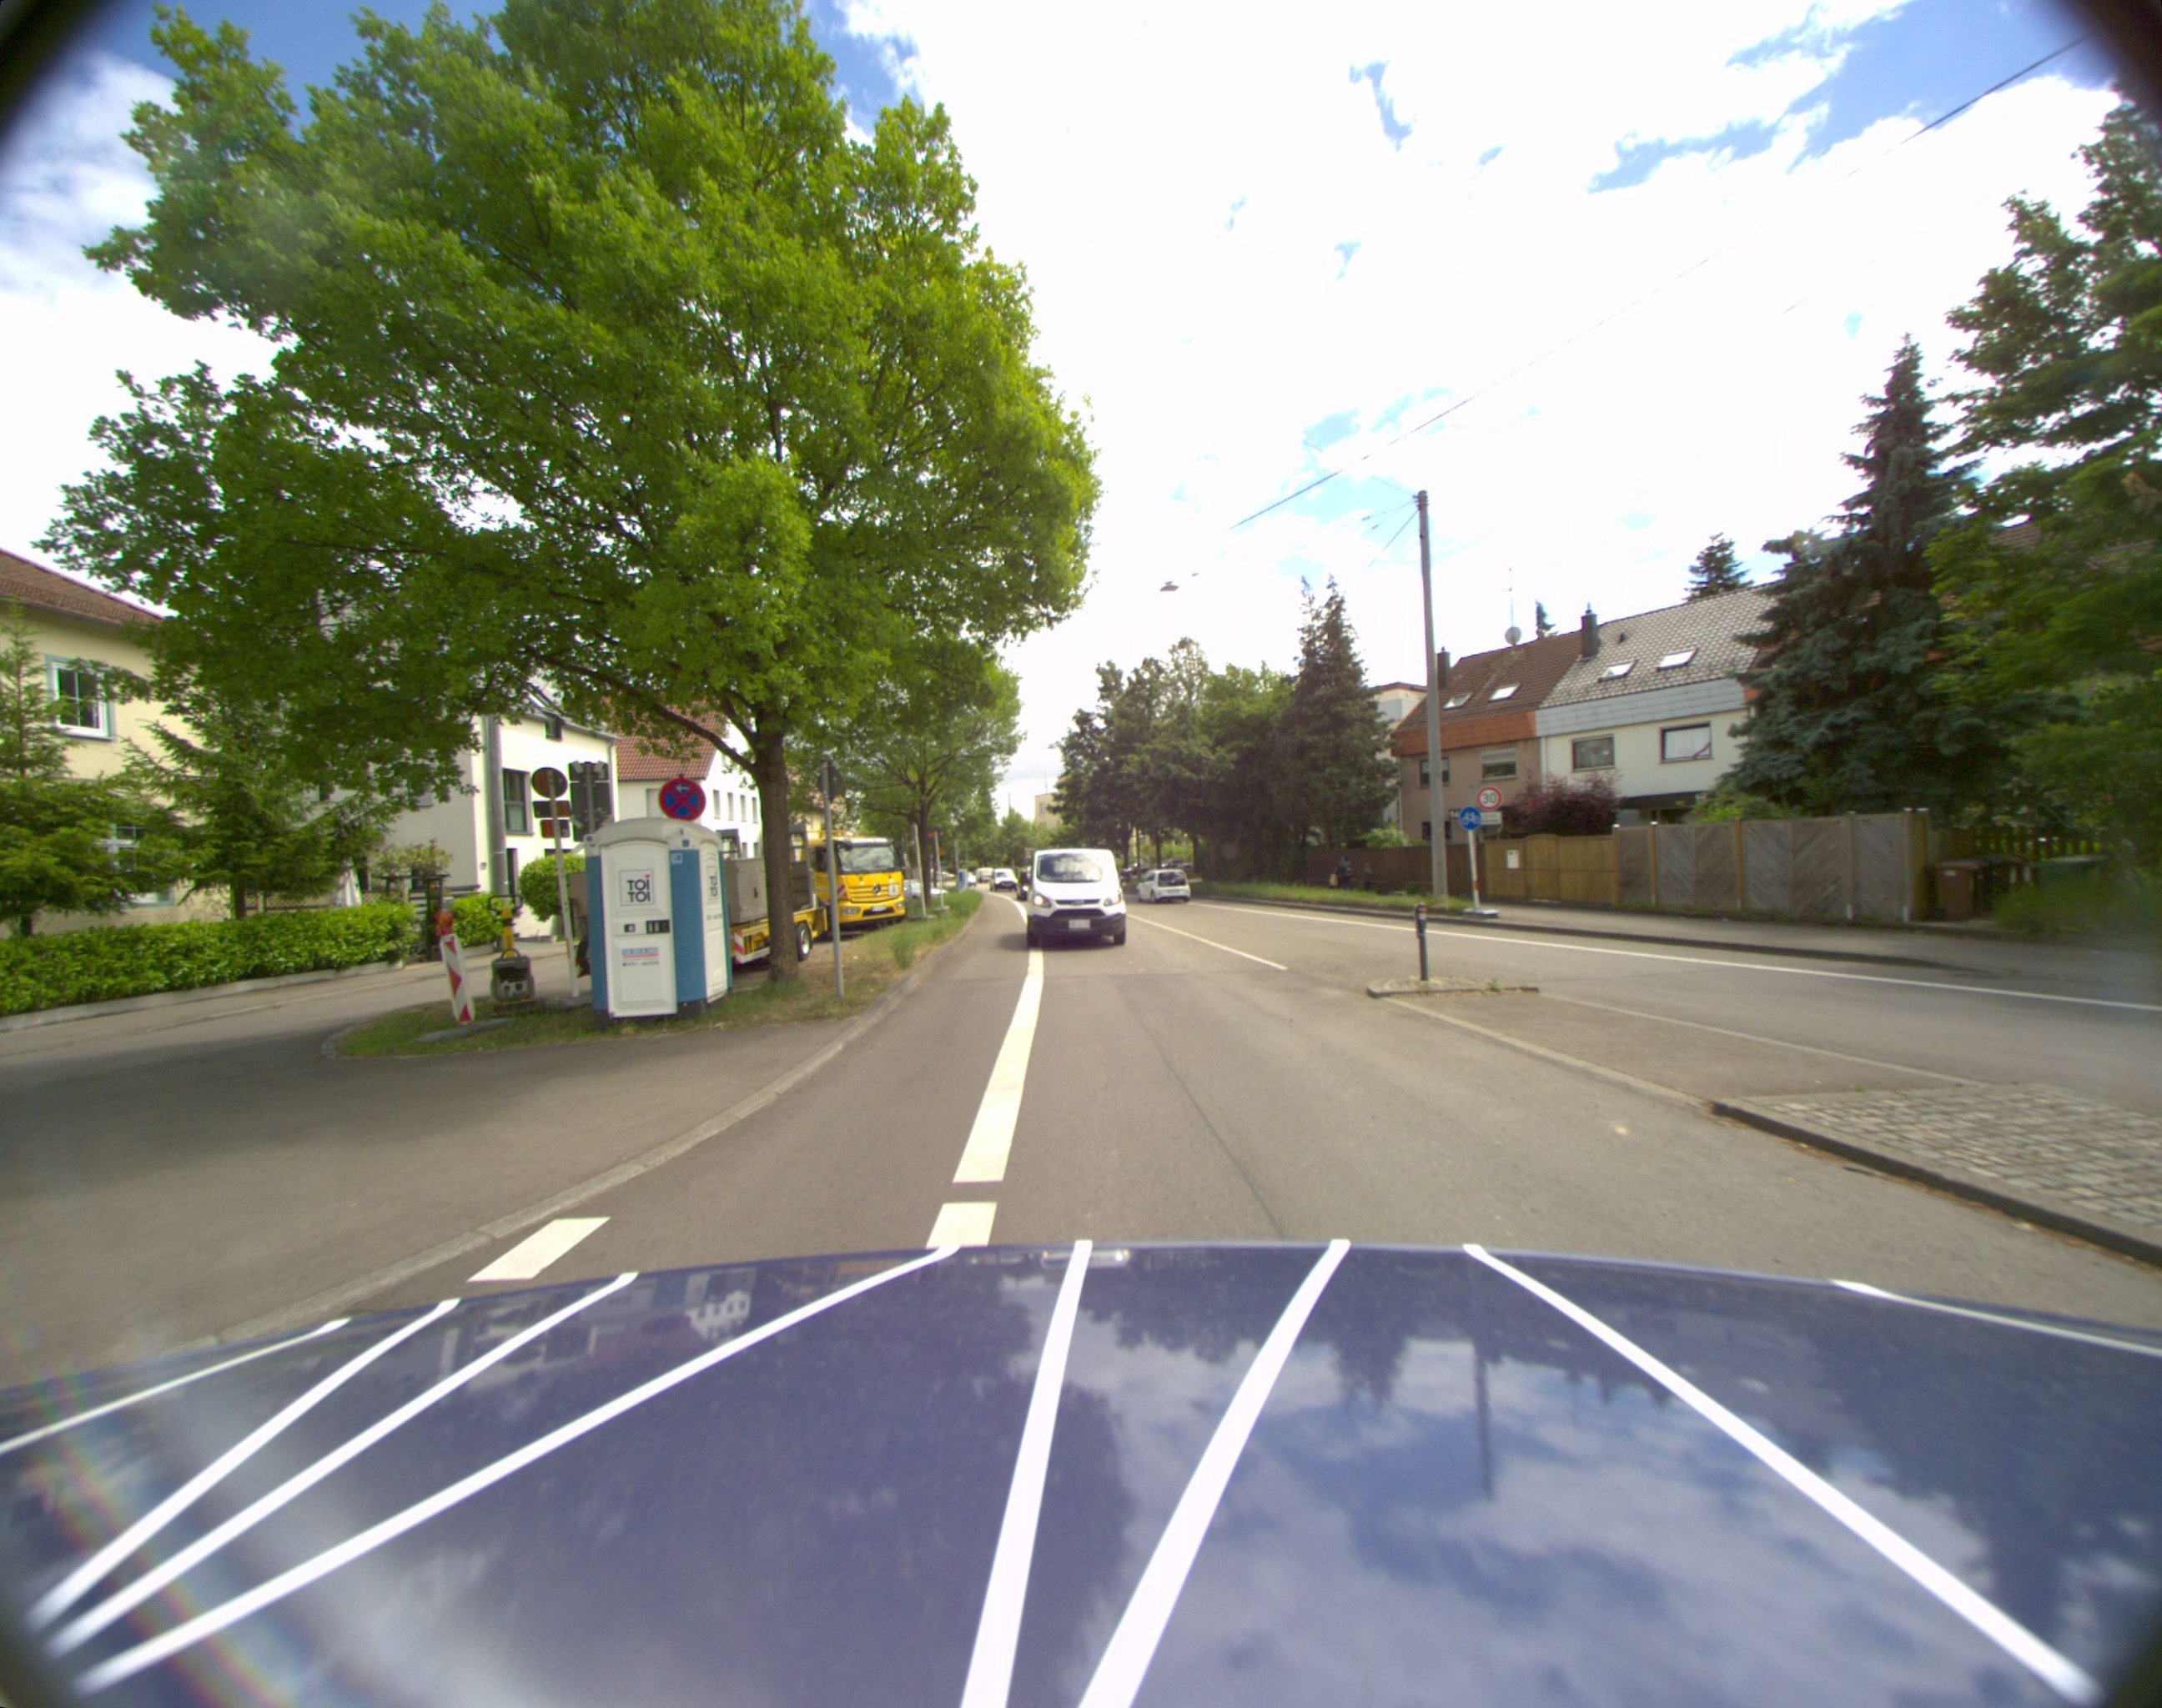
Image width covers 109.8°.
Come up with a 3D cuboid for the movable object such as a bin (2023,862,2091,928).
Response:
[{"bbox_3d":[14.917,0.612,11.617,0.372,0.972,0.546,-1,0,-22],"label":"movable object such as a bin"}]

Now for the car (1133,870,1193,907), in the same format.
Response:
[{"bbox_3d":[3.644,1.521,34.511,1.699,1.504,3.997,-1,0,-9],"label":"car"}]

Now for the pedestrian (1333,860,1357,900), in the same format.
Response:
[{"bbox_3d":[9.756,0.953,28.089,0.556,1.472,0.641,-3,0,-6],"label":"pedestrian"}]

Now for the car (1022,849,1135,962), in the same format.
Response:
[{"bbox_3d":[-0.250,0.947,17.012,1.999,2.002,5.510,-3,1,-5],"label":"car"}]

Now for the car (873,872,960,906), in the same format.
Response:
[{"bbox_3d":[-8.407,1.759,38.791,4.295,1.569,2.004,-2,0,37],"label":"car"}]

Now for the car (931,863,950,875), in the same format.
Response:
[{"bbox_3d":[-21.096,2.255,113.912,2.002,1.719,4.097,-2,0,-21],"label":"car"}]

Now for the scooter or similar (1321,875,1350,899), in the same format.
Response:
[{"bbox_3d":[9.671,1.260,28.930,0.638,0.859,1.030,-3,0,-6],"label":"scooter or similar"}]

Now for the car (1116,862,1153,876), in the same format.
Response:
[{"bbox_3d":[6.464,1.812,91.582,4.006,1.499,1.995,-2,0,-34],"label":"car"}]

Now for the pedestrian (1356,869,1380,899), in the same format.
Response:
[{"bbox_3d":[10.671,1.102,28.232,0.556,1.080,0.641,-3,0,-6],"label":"pedestrian"}]

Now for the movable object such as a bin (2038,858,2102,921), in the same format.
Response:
[{"bbox_3d":[15.595,0.551,11.982,0.379,0.972,0.525,-1,0,-22],"label":"movable object such as a bin"}]

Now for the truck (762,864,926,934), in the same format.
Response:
[{"bbox_3d":[-8.029,1.534,25.404,5.943,2.001,2.004,-5,-2,37],"label":"truck"}]

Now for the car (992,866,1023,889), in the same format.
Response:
[{"bbox_3d":[-6.013,1.872,61.684,2.000,1.719,4.100,-2,0,-11],"label":"car"}]

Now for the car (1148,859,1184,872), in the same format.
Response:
[{"bbox_3d":[10.525,1.414,94.483,4.006,1.499,1.995,-2,0,-32],"label":"car"}]

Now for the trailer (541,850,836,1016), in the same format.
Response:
[{"bbox_3d":[-6.667,1.179,14.007,2.600,2.232,5.672,-4,0,-4],"label":"trailer"}]

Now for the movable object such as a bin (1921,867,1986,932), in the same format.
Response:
[{"bbox_3d":[13.952,0.720,12.162,0.477,1.005,0.495,-1,0,-9],"label":"movable object such as a bin"}]

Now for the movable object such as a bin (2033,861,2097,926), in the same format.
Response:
[{"bbox_3d":[15.250,0.605,11.786,0.334,0.972,0.525,-1,0,-22],"label":"movable object such as a bin"}]

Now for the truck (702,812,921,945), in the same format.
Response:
[{"bbox_3d":[-7.906,0.822,21.887,6.616,3.178,2.347,-6,-3,35],"label":"truck"}]

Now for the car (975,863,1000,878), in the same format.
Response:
[{"bbox_3d":[-11.609,1.998,94.173,2.002,1.719,4.097,-2,0,-21],"label":"car"}]

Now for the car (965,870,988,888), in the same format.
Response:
[{"bbox_3d":[-11.060,2.614,80.306,2.000,1.652,3.996,-2,0,-12],"label":"car"}]

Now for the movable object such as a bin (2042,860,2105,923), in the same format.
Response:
[{"bbox_3d":[15.961,0.592,12.223,0.379,0.972,0.525,-1,0,-22],"label":"movable object such as a bin"}]
